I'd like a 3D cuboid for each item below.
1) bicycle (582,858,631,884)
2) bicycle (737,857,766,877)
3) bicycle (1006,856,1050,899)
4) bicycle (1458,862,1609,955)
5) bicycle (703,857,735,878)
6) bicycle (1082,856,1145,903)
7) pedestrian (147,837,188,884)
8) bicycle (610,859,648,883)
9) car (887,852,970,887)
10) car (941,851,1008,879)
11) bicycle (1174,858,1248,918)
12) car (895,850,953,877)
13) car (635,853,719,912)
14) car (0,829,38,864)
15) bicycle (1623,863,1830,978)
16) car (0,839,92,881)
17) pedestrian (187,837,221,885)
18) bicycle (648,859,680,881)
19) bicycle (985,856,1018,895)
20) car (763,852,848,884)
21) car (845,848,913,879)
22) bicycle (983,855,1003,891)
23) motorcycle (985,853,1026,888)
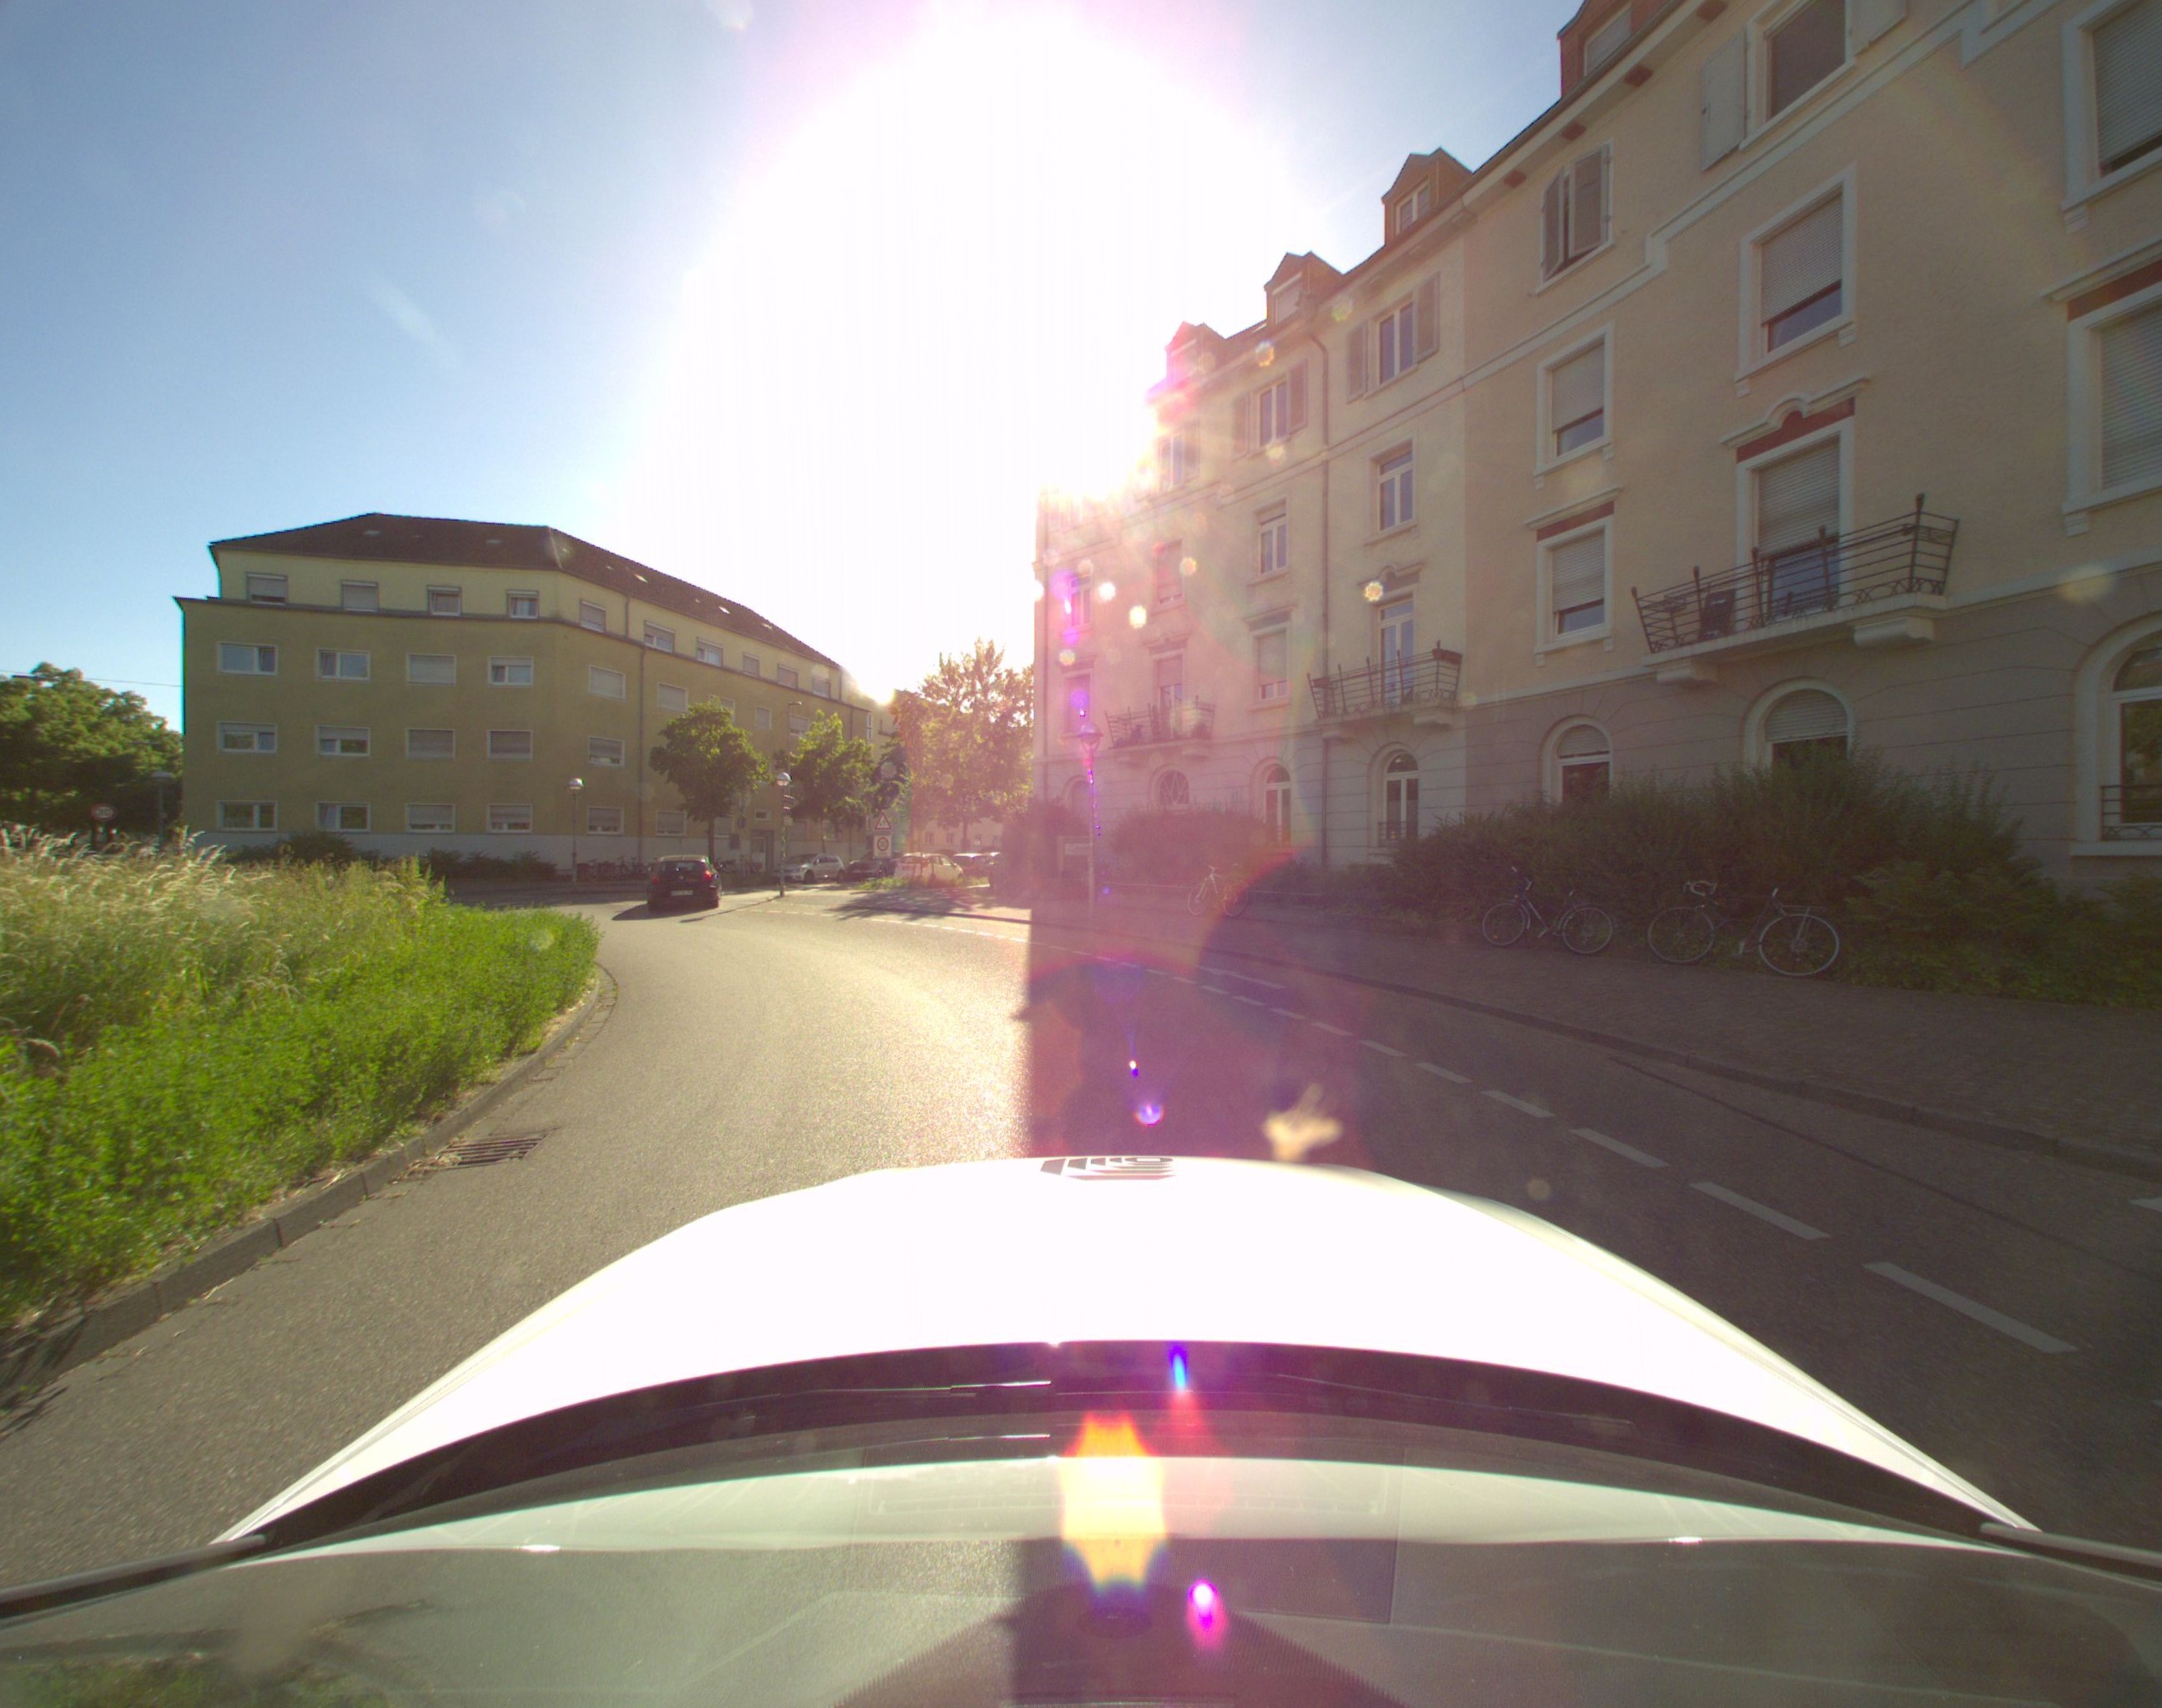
[{"bbox_3d":[-20.583,0.726,35.355,1.809,1.107,0.494,0,0,-40],"label":"bicycle"},{"bbox_3d":[-17.706,0.686,43.755,0.494,1.026,1.459,0,0,30],"label":"bicycle"},{"bbox_3d":[-1.498,0.636,22.751,0.501,1.107,1.784,-1,1,-28],"label":"bicycle"},{"bbox_3d":[5.827,0.657,10.576,0.504,1.088,1.670,-2,1,-31],"label":"bicycle"},{"bbox_3d":[-18.528,0.688,41.679,0.494,1.026,1.459,0,0,30],"label":"bicycle"},{"bbox_3d":[0.846,0.627,20.747,1.691,1.107,0.494,-1,0,-39],"label":"bicycle"},{"bbox_3d":[-30.738,0.200,27.415,0.689,1.523,0.831,0,2,44],"label":"pedestrian"},{"bbox_3d":[-20.389,0.756,36.755,1.457,1.026,0.494,0,0,-40],"label":"bicycle"},{"bbox_3d":[-6.505,0.640,35.228,1.780,1.413,4.019,0,0,19],"label":"car"},{"bbox_3d":[-5.103,0.521,39.552,1.780,1.255,3.735,-1,0,17],"label":"car"},{"bbox_3d":[2.552,0.643,16.120,0.504,1.088,1.671,-2,1,-28],"label":"bicycle"},{"bbox_3d":[-9.301,0.558,48.611,1.781,1.510,4.016,-1,0,15],"label":"car"},{"bbox_3d":[-11.070,0.709,22.551,1.873,1.419,3.969,-1,1,-24],"label":"car"},{"bbox_3d":[-63.864,-0.404,46.965,4.182,1.987,2.167,0,0,-8],"label":"car"},{"bbox_3d":[6.877,0.654,8.768,0.504,1.088,1.670,-2,1,-31],"label":"bicycle"},{"bbox_3d":[-37.358,0.209,29.213,1.742,1.411,4.435,0,0,-42],"label":"car"},{"bbox_3d":[-28.825,0.215,26.786,0.654,1.523,0.689,-2,2,-42],"label":"pedestrian"},{"bbox_3d":[-19.657,0.742,38.419,0.494,1.026,1.456,0,0,17],"label":"bicycle"},{"bbox_3d":[-2.409,0.617,24.427,0.500,1.107,1.787,-1,1,-22],"label":"bicycle"},{"bbox_3d":[-12.764,0.639,37.999,1.785,1.411,4.016,-1,0,15],"label":"car"},{"bbox_3d":[-10.816,0.521,43.845,1.781,1.576,4.016,-1,0,15],"label":"car"},{"bbox_3d":[-2.862,0.611,26.635,0.497,1.107,1.949,-1,1,-2],"label":"bicycle"},{"bbox_3d":[-2.734,0.591,29.543,0.878,1.191,1.498,-2,0,20],"label":"motorcycle"}]
